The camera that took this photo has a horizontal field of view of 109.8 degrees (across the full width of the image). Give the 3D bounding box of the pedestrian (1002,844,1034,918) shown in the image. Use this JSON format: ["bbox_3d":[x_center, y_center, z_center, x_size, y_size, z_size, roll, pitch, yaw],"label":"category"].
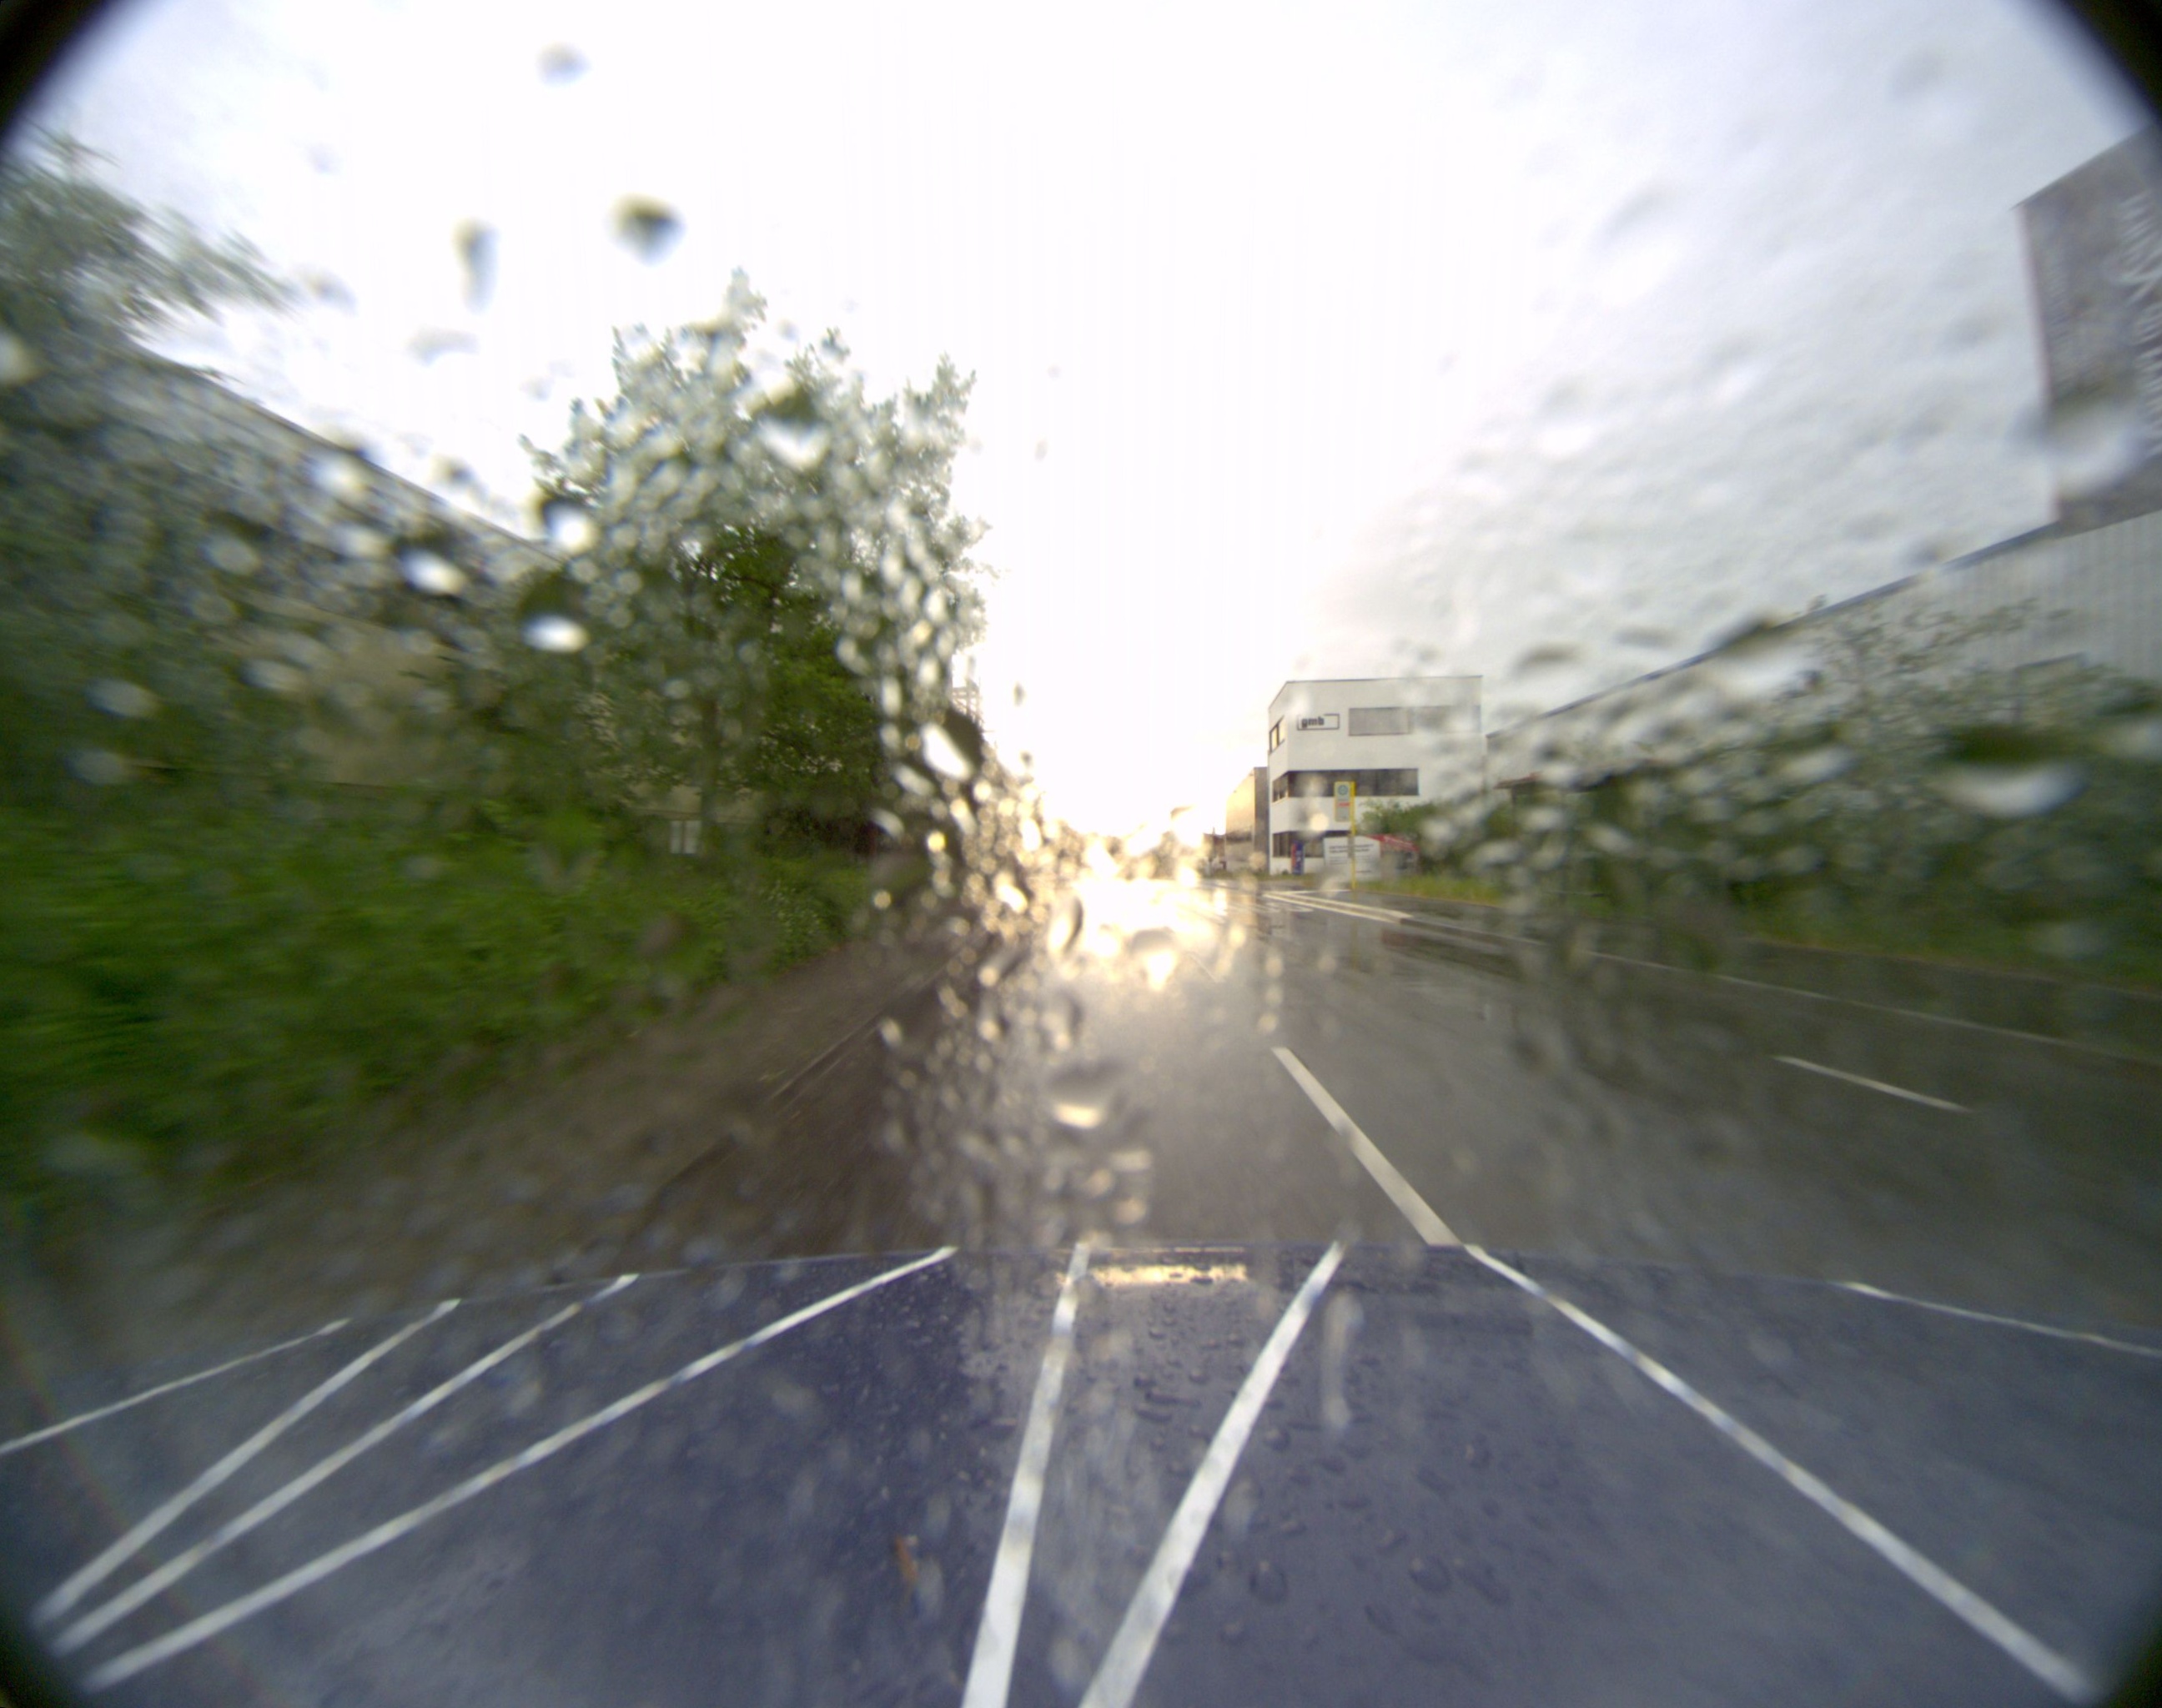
[{"bbox_3d":[-1.600,0.669,19.297,0.747,1.827,0.890,0,0,-2],"label":"pedestrian"}]
